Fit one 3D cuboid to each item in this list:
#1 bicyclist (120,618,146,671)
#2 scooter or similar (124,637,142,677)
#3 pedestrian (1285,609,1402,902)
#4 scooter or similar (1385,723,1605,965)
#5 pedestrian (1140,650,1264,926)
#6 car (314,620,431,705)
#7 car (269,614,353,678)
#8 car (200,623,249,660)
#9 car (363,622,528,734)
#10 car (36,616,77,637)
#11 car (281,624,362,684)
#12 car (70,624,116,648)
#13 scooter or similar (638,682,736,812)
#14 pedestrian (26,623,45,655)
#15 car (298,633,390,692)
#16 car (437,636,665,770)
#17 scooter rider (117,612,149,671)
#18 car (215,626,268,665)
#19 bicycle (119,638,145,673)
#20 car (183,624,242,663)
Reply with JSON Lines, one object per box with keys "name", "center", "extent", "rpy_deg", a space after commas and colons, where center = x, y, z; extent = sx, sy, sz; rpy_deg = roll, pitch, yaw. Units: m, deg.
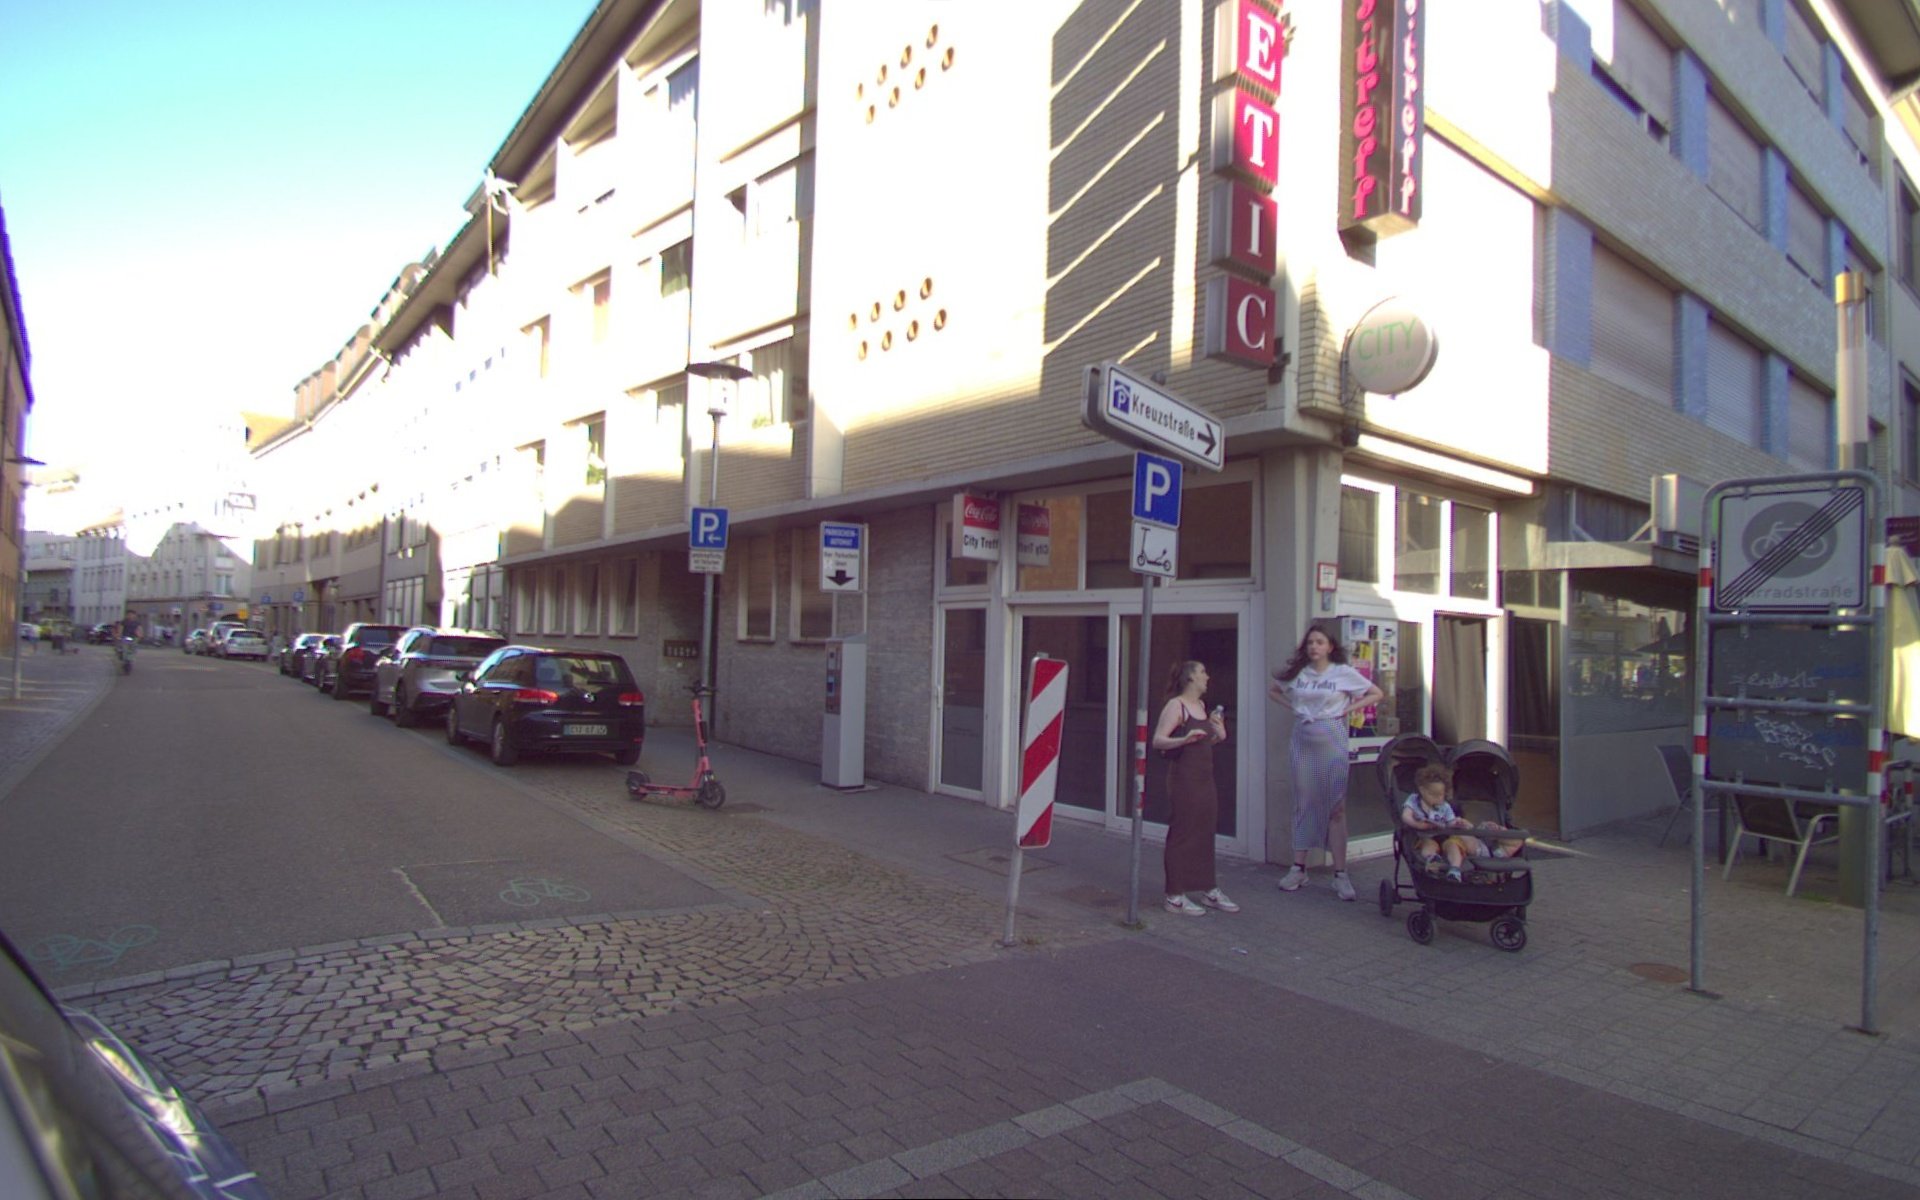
{"name": "bicyclist", "center": [-26.608, 1.425, 32.567], "extent": [0.610, 1.679, 0.825], "rpy_deg": [1, -2, -37]}
{"name": "scooter or similar", "center": [-24.791, 1.699, 30.325], "extent": [0.332, 1.195, 1.280], "rpy_deg": [2, -3, -42]}
{"name": "pedestrian", "center": [2.530, 0.987, 6.737], "extent": [0.654, 1.833, 0.567], "rpy_deg": [-1, -2, 17]}
{"name": "scooter or similar", "center": [3.020, 1.340, 5.816], "extent": [0.789, 1.152, 0.952], "rpy_deg": [1, -2, 5]}
{"name": "pedestrian", "center": [1.484, 1.114, 6.254], "extent": [0.525, 1.592, 0.512], "rpy_deg": [0, -2, -18]}
{"name": "car", "center": [-13.566, 1.413, 23.287], "extent": [1.647, 1.717, 4.020], "rpy_deg": [7, -6, -38]}
{"name": "car", "center": [-23.010, 1.630, 35.831], "extent": [1.968, 2.029, 4.008], "rpy_deg": [7, -6, -38]}
{"name": "car", "center": [-38.884, 2.170, 53.474], "extent": [1.667, 1.789, 3.661], "rpy_deg": [7, -6, -40]}
{"name": "car", "center": [-8.988, 1.311, 17.518], "extent": [1.647, 1.674, 4.089], "rpy_deg": [7, -6, -38]}
{"name": "car", "center": [-78.729, 2.323, 88.162], "extent": [3.832, 1.663, 1.911], "rpy_deg": [0, -5, 38]}
{"name": "car", "center": [-20.693, 1.729, 32.735], "extent": [1.647, 1.717, 4.020], "rpy_deg": [7, -6, -38]}
{"name": "car", "center": [-66.492, 2.749, 77.614], "extent": [3.832, 1.663, 1.911], "rpy_deg": [0, -4, 38]}
{"name": "scooter or similar", "center": [-2.645, 1.408, 9.809], "extent": [0.873, 1.193, 0.207], "rpy_deg": [1, -3, 12]}
{"name": "pedestrian", "center": [-45.792, 1.916, 50.118], "extent": [0.535, 1.556, 0.406], "rpy_deg": [6, -5, -39]}
{"name": "car", "center": [-17.374, 1.719, 28.461], "extent": [1.647, 1.472, 3.871], "rpy_deg": [7, -6, -38]}
{"name": "car", "center": [-5.526, 1.310, 13.424], "extent": [1.713, 1.497, 3.819], "rpy_deg": [7, -6, -38]}
{"name": "scooter rider", "center": [-24.797, 1.262, 30.339], "extent": [0.639, 1.739, 0.703], "rpy_deg": [4, -5, -41]}
{"name": "car", "center": [-34.896, 2.193, 49.128], "extent": [1.667, 1.692, 3.513], "rpy_deg": [7, -6, -40]}
{"name": "bicycle", "center": [-26.568, 1.772, 32.486], "extent": [0.582, 1.060, 1.804], "rpy_deg": [2, -2, -38]}
{"name": "car", "center": [-42.972, 2.501, 58.140], "extent": [4.002, 2.029, 1.971], "rpy_deg": [-1, -7, 45]}
